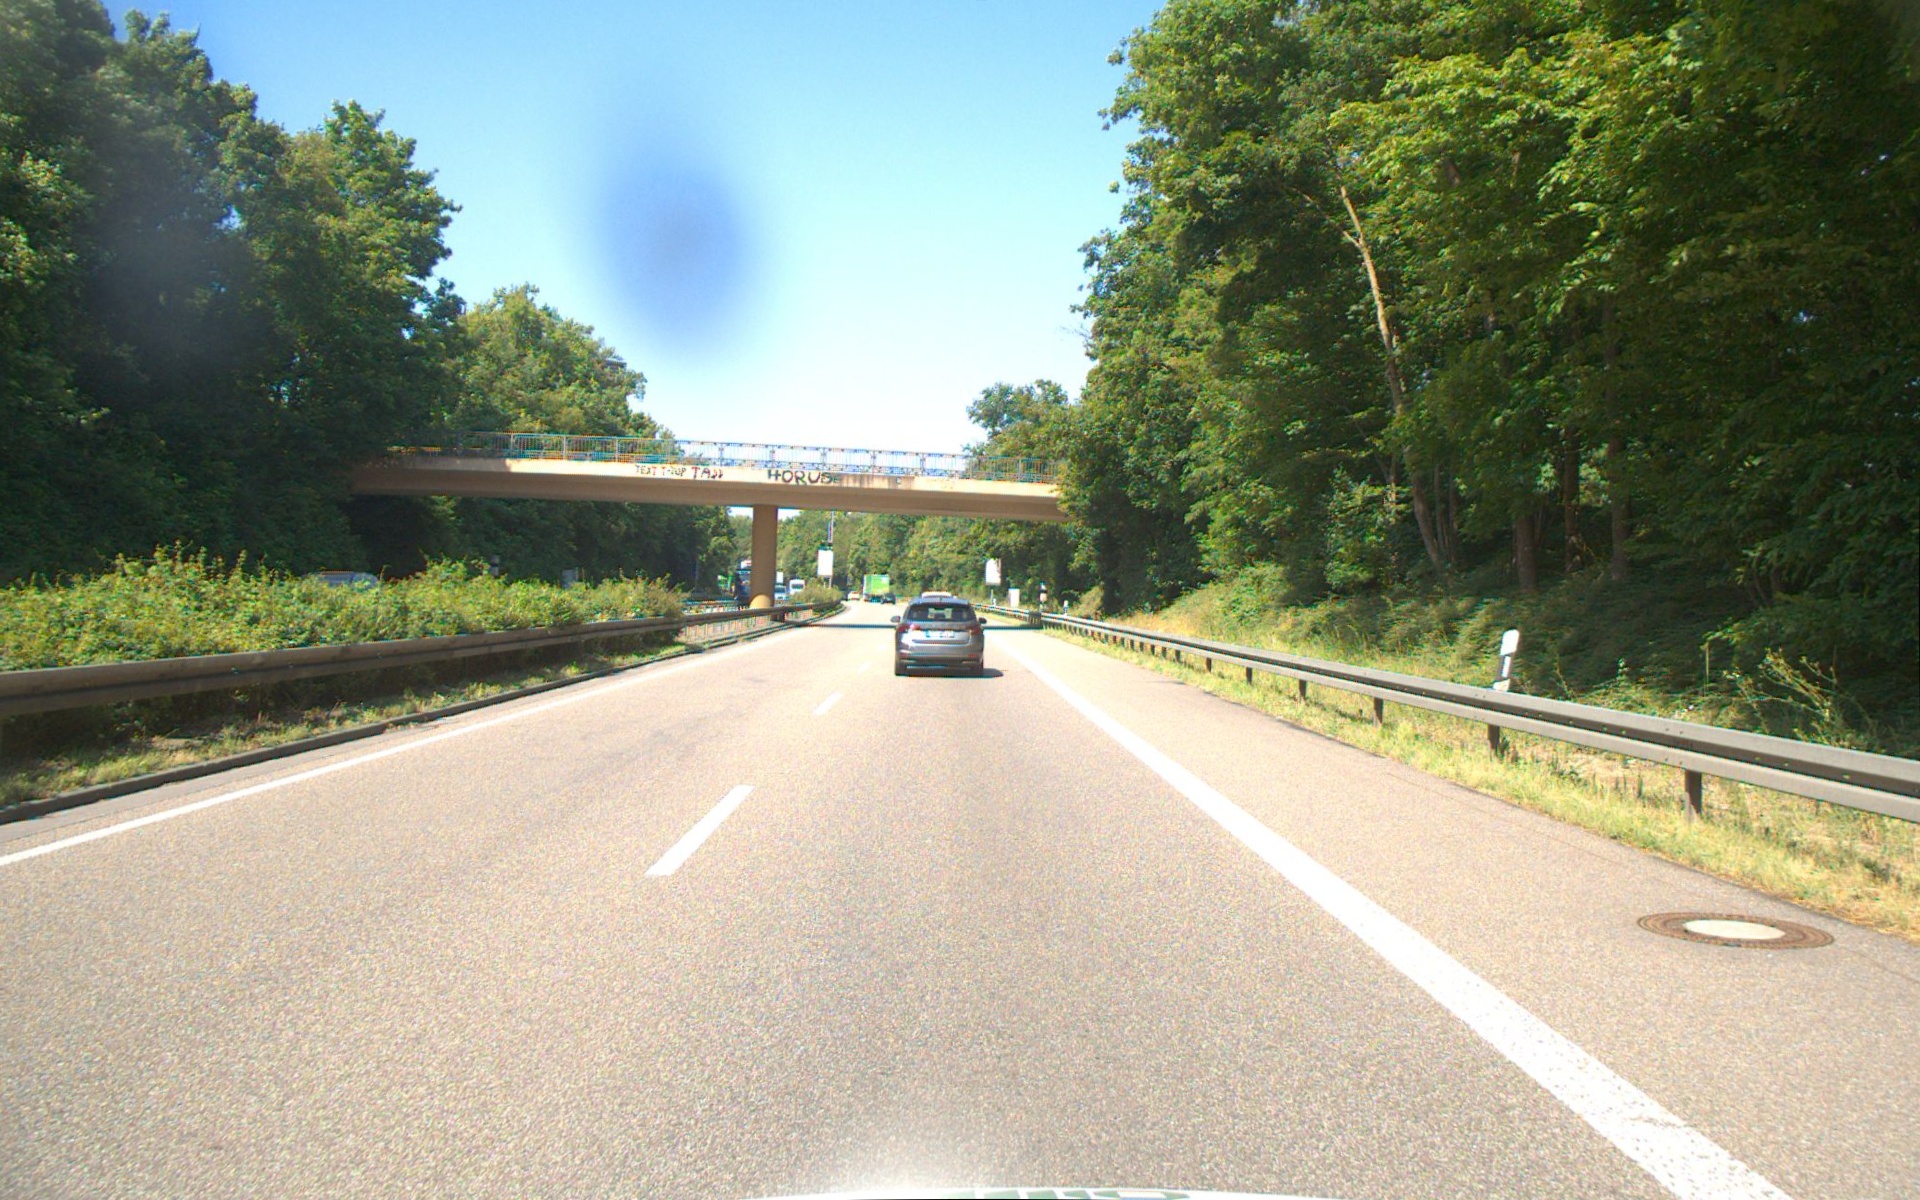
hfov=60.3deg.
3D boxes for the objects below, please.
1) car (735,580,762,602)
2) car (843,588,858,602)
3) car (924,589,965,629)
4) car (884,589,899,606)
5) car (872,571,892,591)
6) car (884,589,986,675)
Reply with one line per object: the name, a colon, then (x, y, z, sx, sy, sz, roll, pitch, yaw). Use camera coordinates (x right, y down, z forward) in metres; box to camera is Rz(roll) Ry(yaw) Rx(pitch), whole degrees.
car: (-19.835, -0.862, 155.293, 1.953, 2.049, 3.999, 1, 0, -1)
car: (-16.414, -0.720, 247.525, 1.953, 2.049, 3.999, 1, 0, -1)
car: (-0.582, 0.314, 64.341, 1.491, 1.472, 3.340, 1, 1, 1)
car: (-8.674, -0.309, 209.063, 1.727, 2.049, 3.587, 1, 0, -1)
car: (-11.164, -2.722, 236.796, 2.693, 2.700, 3.999, 1, 0, -1)
car: (-0.426, 0.561, 31.659, 1.802, 1.497, 3.624, 1, 1, 1)
